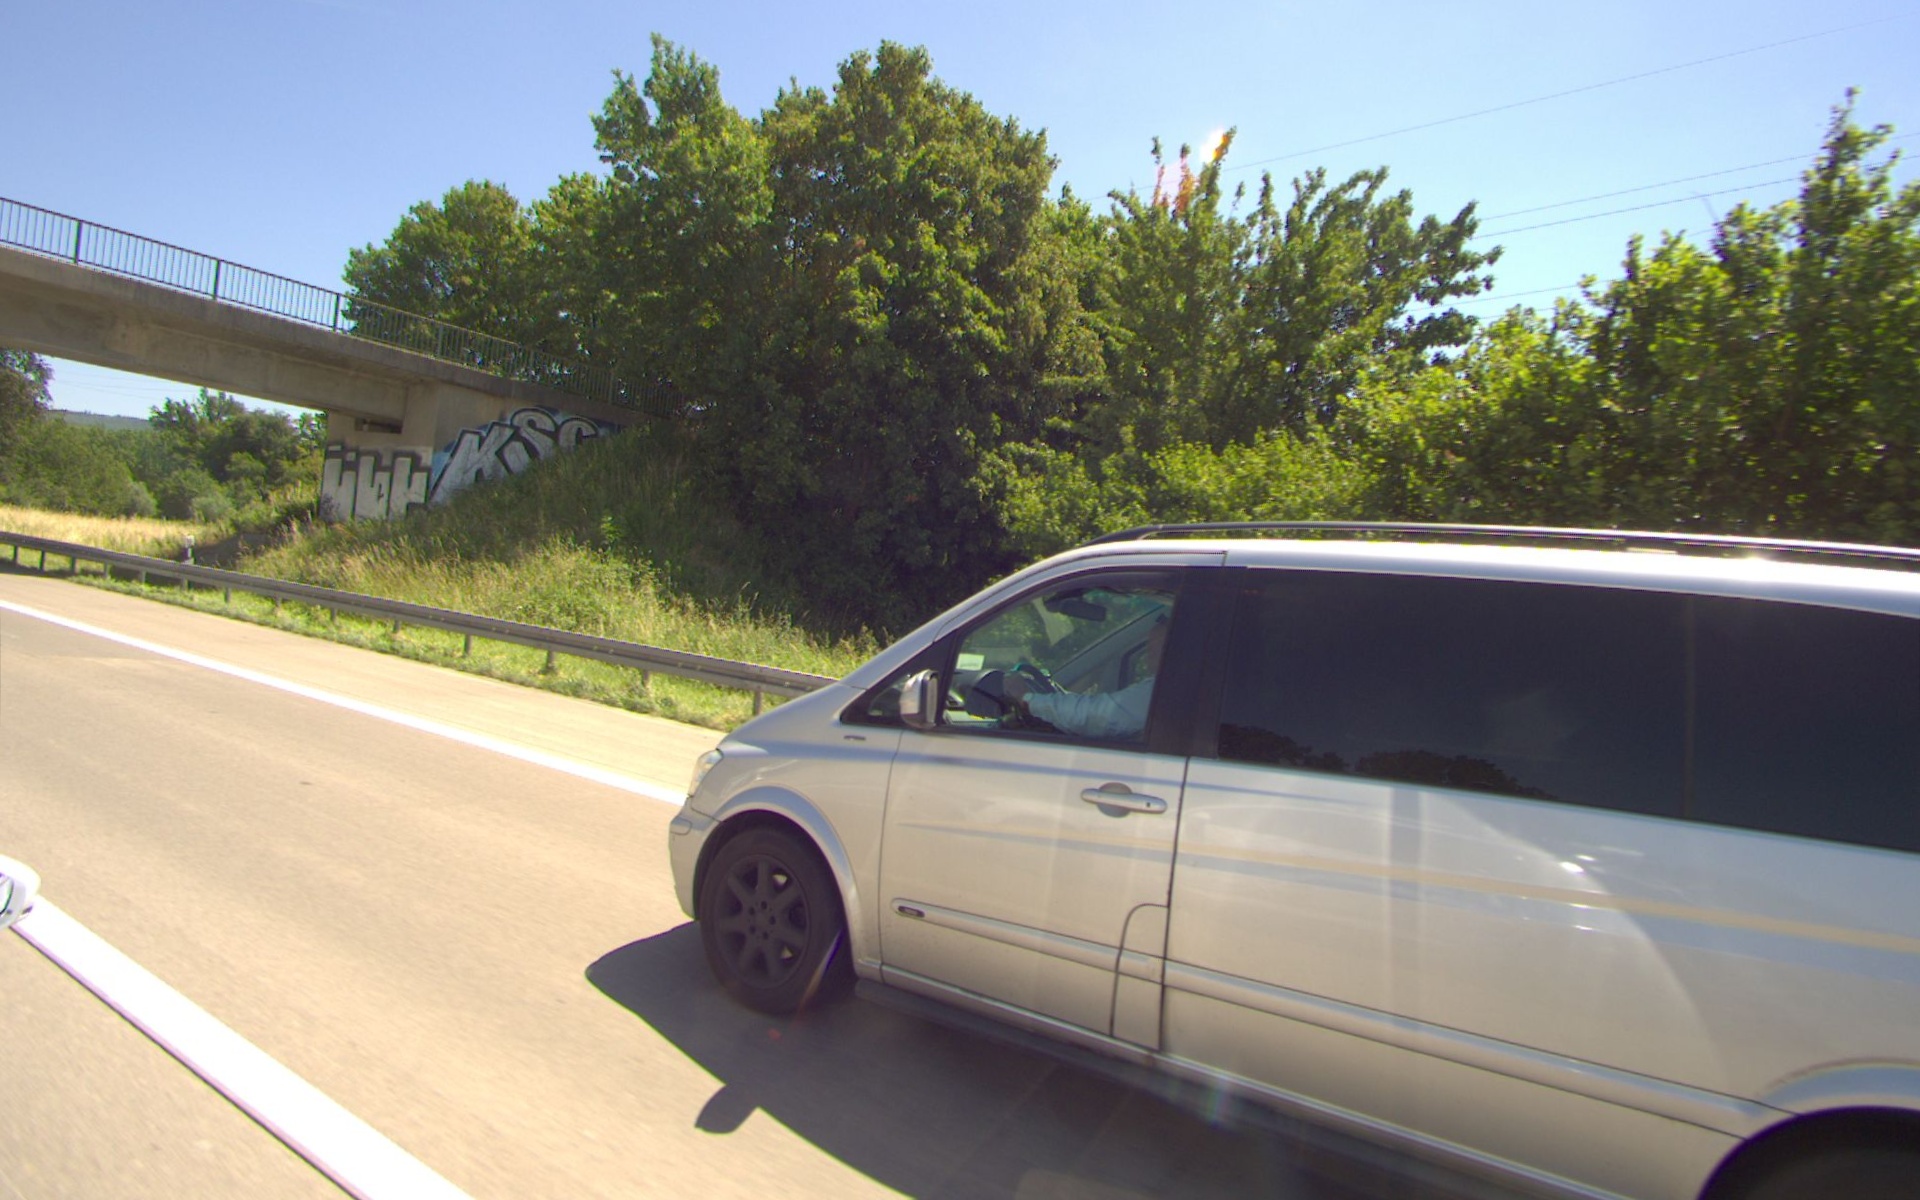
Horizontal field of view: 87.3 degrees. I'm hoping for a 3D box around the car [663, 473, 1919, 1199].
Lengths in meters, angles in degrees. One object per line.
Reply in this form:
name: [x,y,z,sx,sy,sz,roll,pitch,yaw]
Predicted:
car: [1.647,0.799,3.281,5.192,1.911,1.882,7,-1,32]
